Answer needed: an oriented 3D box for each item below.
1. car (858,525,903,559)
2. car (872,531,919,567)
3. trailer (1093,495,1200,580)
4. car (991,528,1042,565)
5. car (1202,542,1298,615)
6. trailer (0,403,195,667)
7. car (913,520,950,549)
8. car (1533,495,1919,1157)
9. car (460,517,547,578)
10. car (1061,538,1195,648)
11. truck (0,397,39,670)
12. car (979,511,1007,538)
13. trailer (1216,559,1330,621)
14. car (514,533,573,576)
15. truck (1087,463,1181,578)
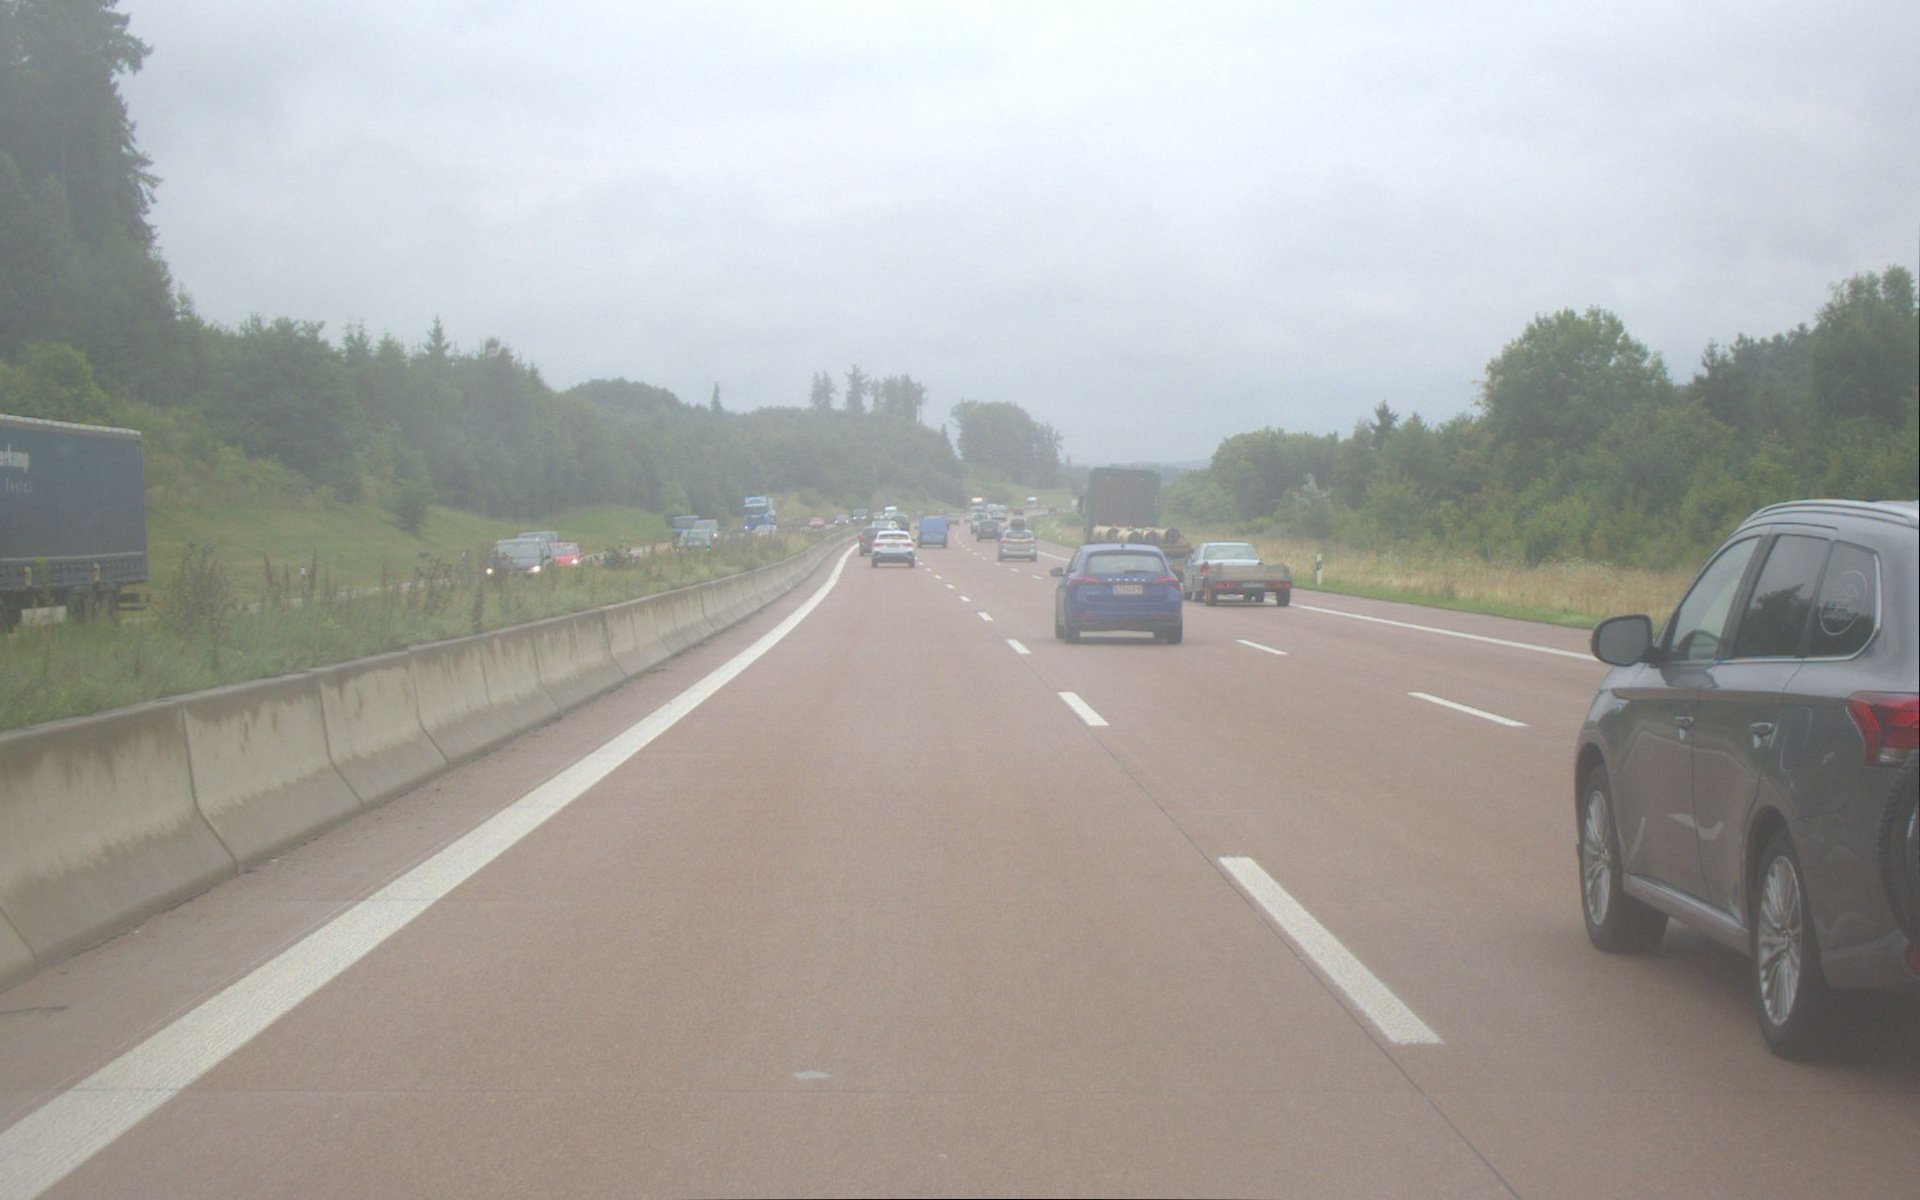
[{"bbox_3d":[-4.249,-3.100,184.179,2.322,1.744,4.877,1,0,0],"label":"car"},{"bbox_3d":[-2.721,-2.185,145.557,1.874,1.439,4.877,1,2,0],"label":"car"},{"bbox_3d":[6.134,-2.029,114.487,2.881,2.666,11.399,1,0,0],"label":"trailer"},{"bbox_3d":[2.722,-2.570,166.268,2.322,1.744,4.877,1,0,0],"label":"car"},{"bbox_3d":[6.613,-0.510,78.931,1.698,1.606,4.977,0,1,-1],"label":"car"},{"bbox_3d":[-16.963,-1.147,63.174,2.919,4.324,13.581,1,0,-1],"label":"trailer"},{"bbox_3d":[-1.784,-4.186,219.420,2.322,1.744,4.877,1,0,0],"label":"car"},{"bbox_3d":[3.298,0.533,10.761,1.993,1.587,5.820,1,0,0],"label":"car"},{"bbox_3d":[-13.841,-1.618,104.546,1.993,1.761,5.095,0,2,0],"label":"car"},{"bbox_3d":[2.473,-0.123,51.486,1.771,1.558,4.147,1,0,0],"label":"car"},{"bbox_3d":[-16.839,-1.066,53.807,2.924,4.375,7.404,1,0,-1],"label":"truck"},{"bbox_3d":[2.442,-5.632,256.887,1.993,2.007,4.000,1,0,0],"label":"car"},{"bbox_3d":[6.703,-0.240,74.108,1.971,1.162,4.639,1,2,0],"label":"trailer"},{"bbox_3d":[-14.984,-1.625,123.828,1.726,1.524,4.117,1,0,-1],"label":"car"},{"bbox_3d":[6.134,-2.780,122.159,2.897,3.951,6.989,1,0,0],"label":"truck"}]
